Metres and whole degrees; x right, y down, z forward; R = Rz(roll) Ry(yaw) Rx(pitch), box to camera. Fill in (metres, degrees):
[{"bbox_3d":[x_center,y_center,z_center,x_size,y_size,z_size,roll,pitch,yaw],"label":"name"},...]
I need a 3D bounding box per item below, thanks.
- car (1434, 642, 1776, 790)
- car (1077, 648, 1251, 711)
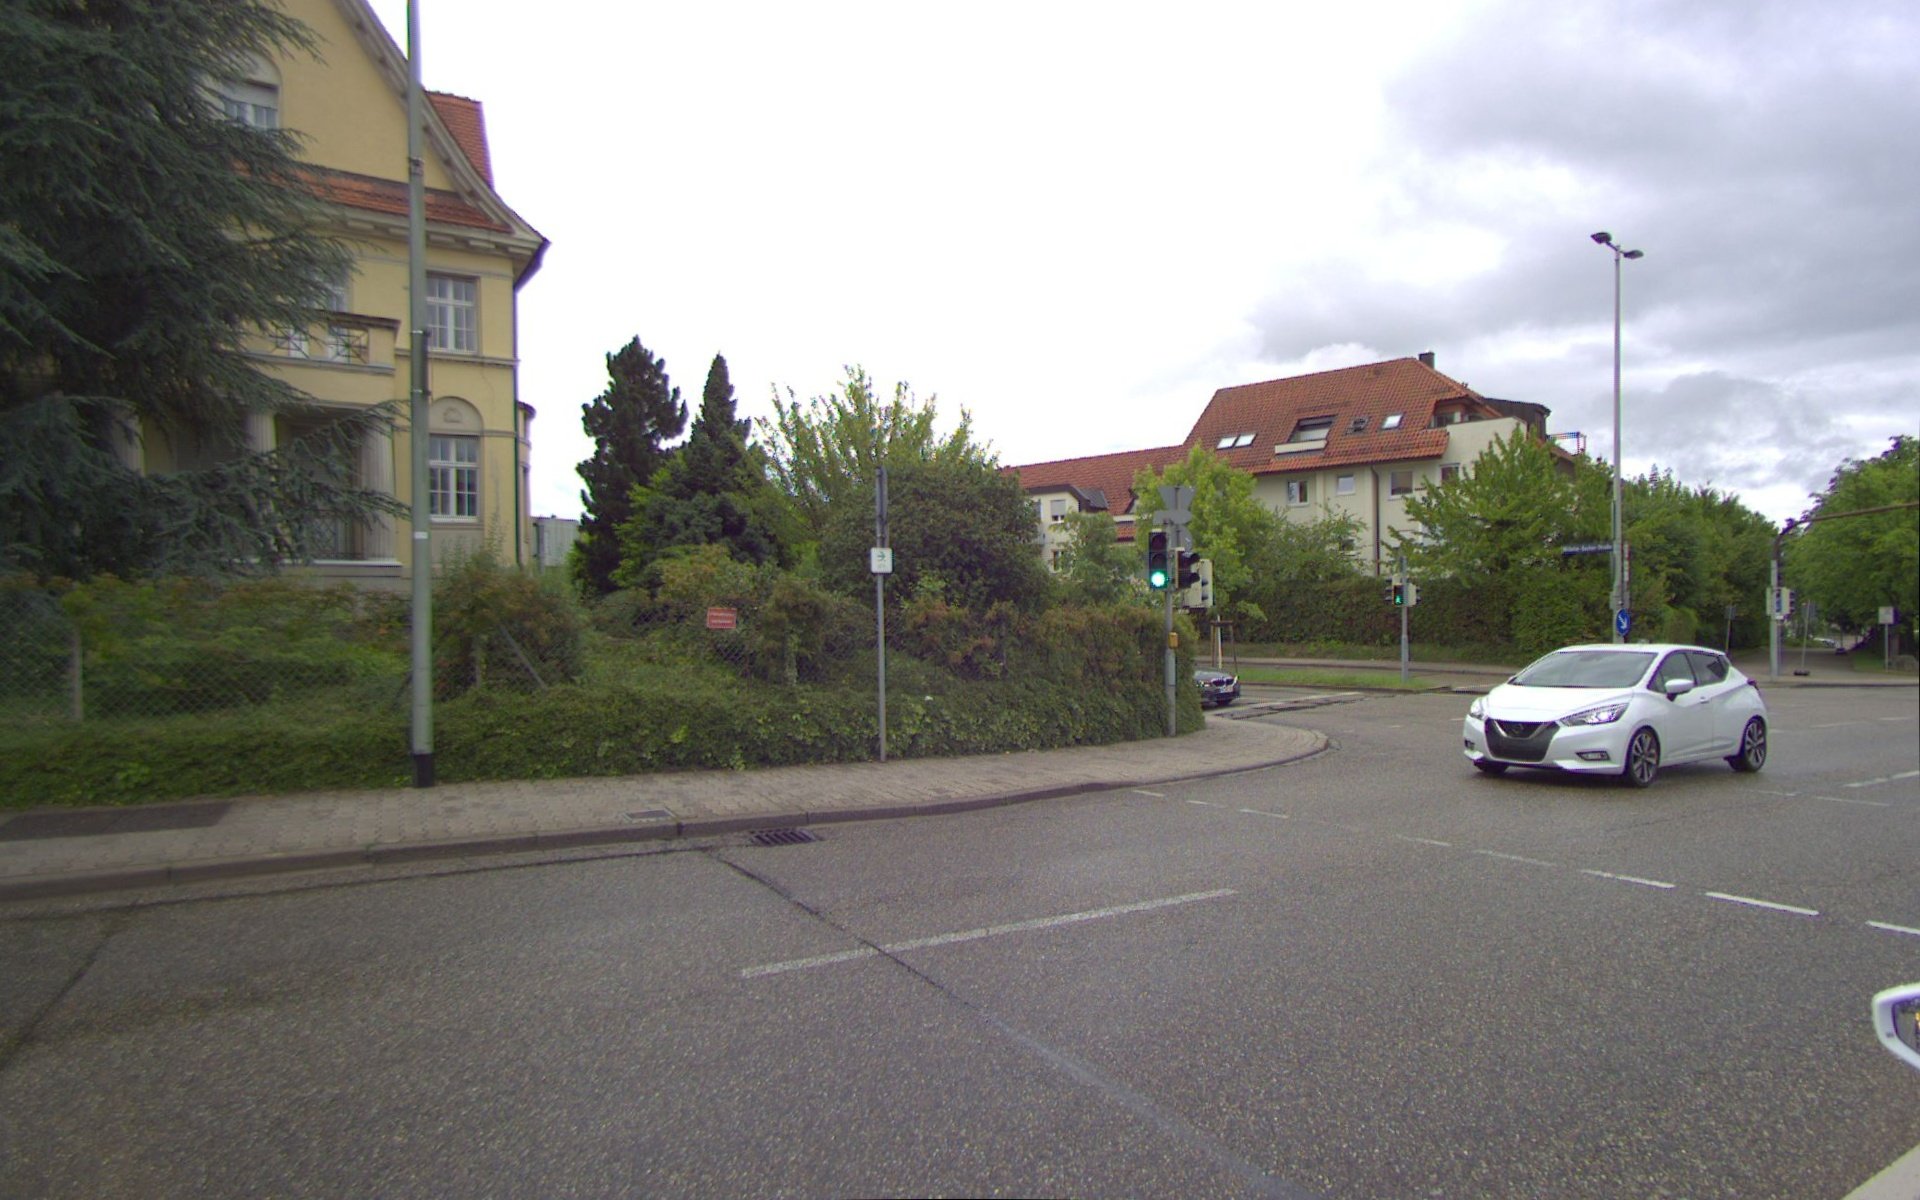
[{"bbox_3d":[7.341,1.200,11.381,3.758,1.415,1.738,1,-4,-31],"label":"car"},{"bbox_3d":[5.213,2.030,26.182,1.759,1.411,4.392,-1,-2,-35],"label":"car"}]
